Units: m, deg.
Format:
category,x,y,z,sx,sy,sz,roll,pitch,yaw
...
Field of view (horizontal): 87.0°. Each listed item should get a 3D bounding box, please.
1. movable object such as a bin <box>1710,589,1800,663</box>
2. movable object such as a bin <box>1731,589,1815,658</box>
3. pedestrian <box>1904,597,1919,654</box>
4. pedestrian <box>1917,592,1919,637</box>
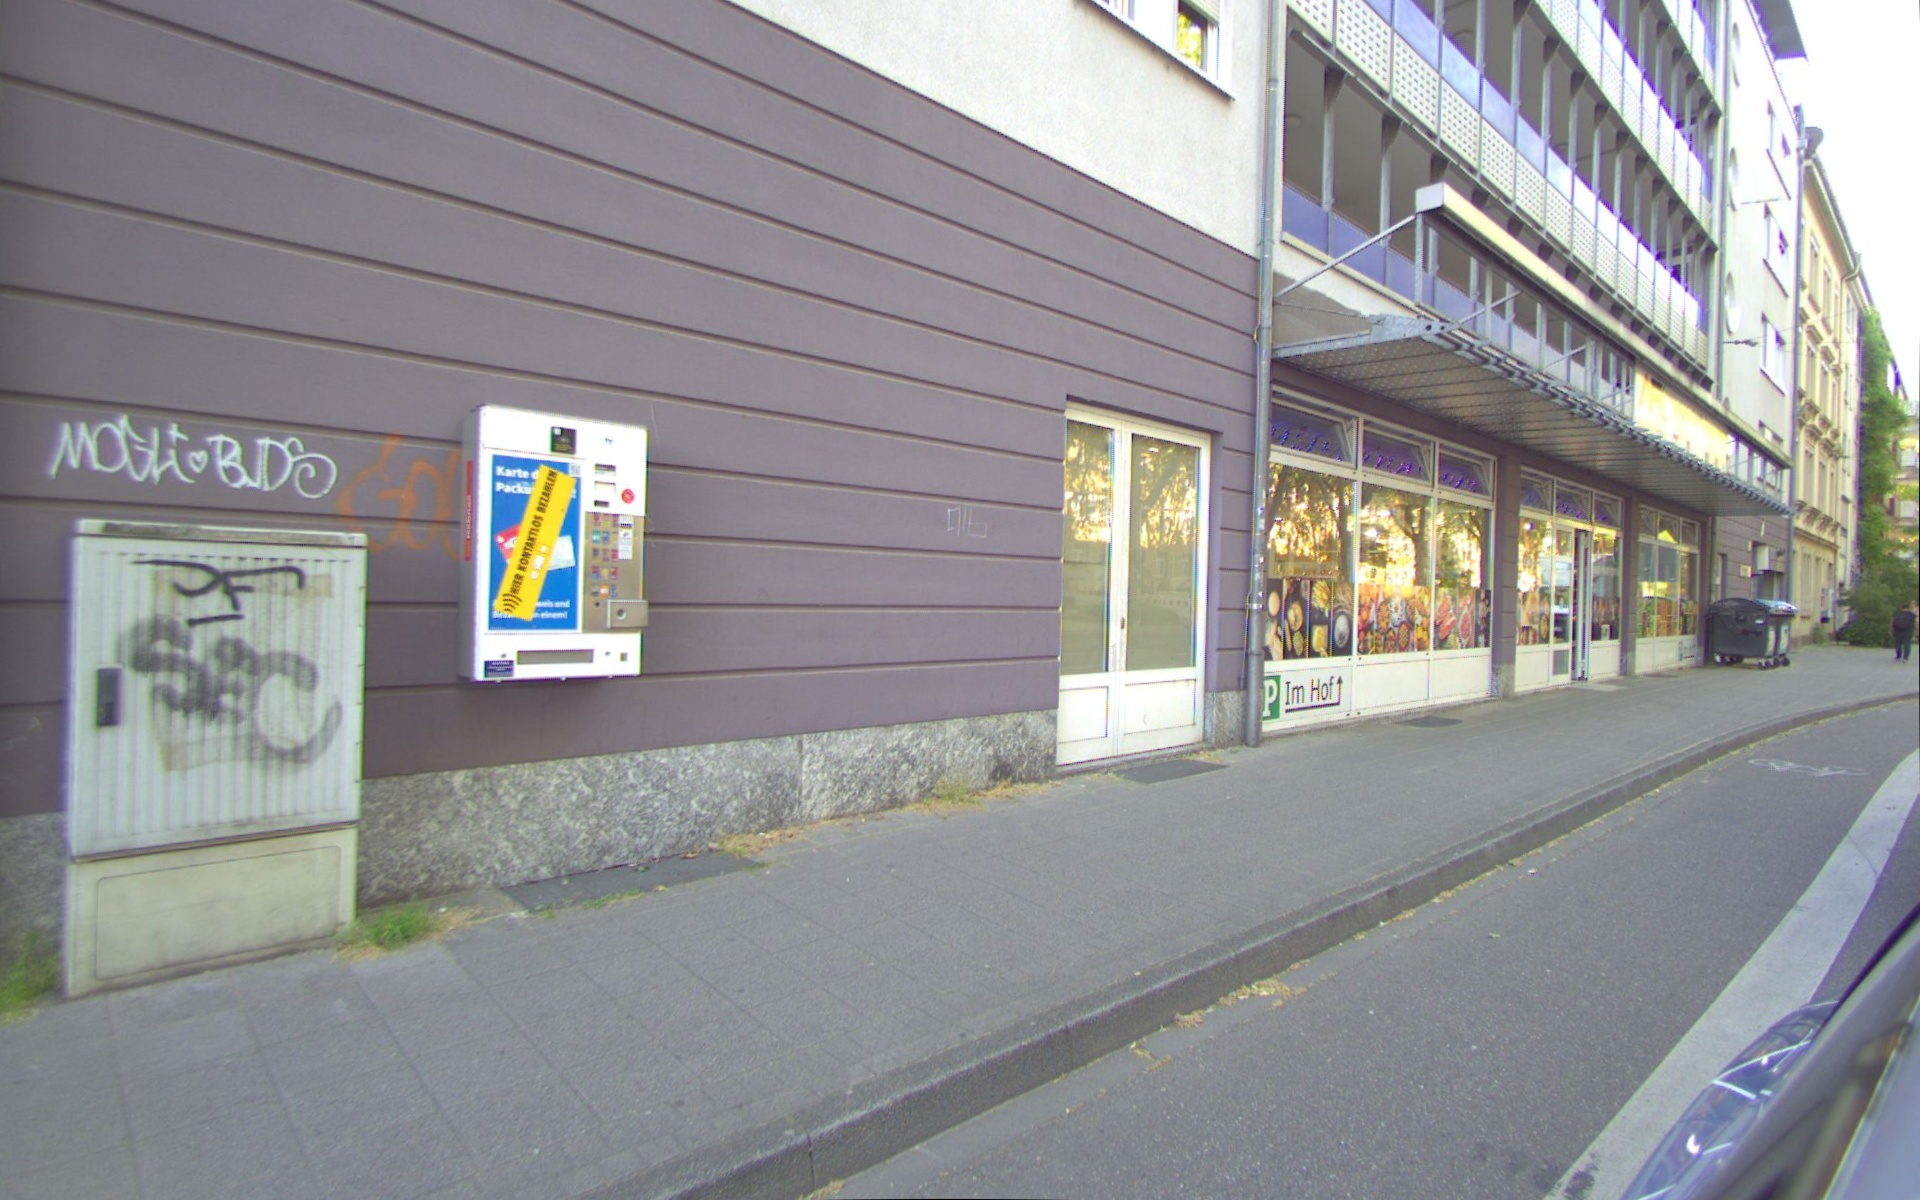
category,x,y,z,sx,sy,sz,roll,pitch,yaw
movable object such as a bin,16.421,0.516,20.912,1.348,1.427,1.203,1,1,-41
movable object such as a bin,17.870,0.495,22.241,1.348,1.427,1.203,1,1,-41
pedestrian,24.886,0.662,26.231,0.619,1.463,0.540,1,1,-41
pedestrian,36.859,0.564,38.536,0.504,1.693,0.540,1,1,-41
